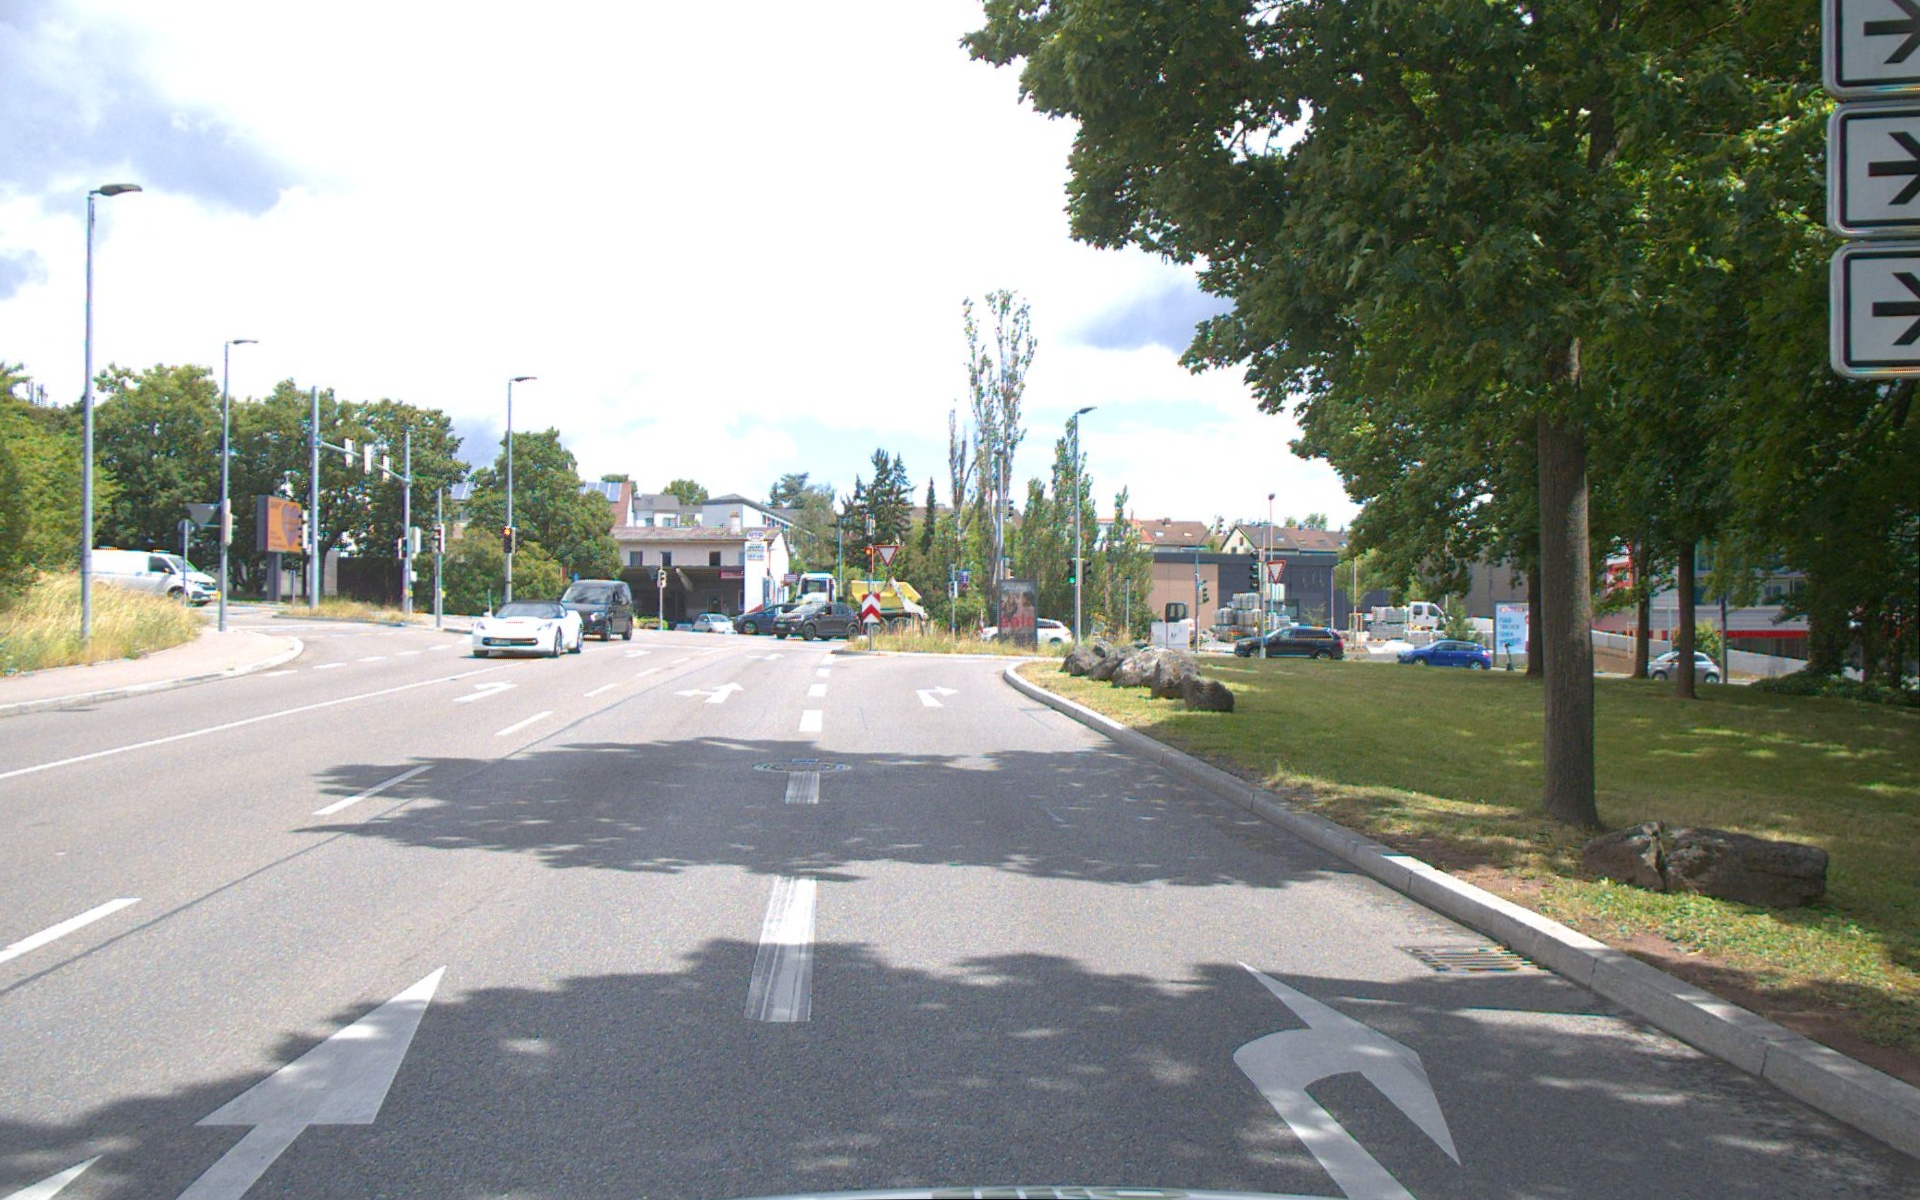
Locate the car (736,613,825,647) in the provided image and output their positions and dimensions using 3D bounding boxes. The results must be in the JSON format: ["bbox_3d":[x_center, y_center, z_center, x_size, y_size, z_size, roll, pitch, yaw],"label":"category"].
[{"bbox_3d":[-8.313,1.395,76.850,3.905,1.425,1.696,2,-2,0],"label":"car"}]

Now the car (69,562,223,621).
[{"bbox_3d":[-31.232,-0.304,63.562,4.856,1.971,1.909,3,-1,-3],"label":"car"}]

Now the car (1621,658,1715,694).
[{"bbox_3d":[31.429,3.369,73.465,3.440,1.486,1.585,-1,-1,1],"label":"car"}]

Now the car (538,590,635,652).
[{"bbox_3d":[-11.401,0.668,50.770,1.748,1.810,4.811,0,-1,1],"label":"car"}]

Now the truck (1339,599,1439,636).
[{"bbox_3d":[29.180,1.195,112.510,6.420,2.183,2.001,-3,-2,15],"label":"truck"}]

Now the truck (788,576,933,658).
[{"bbox_3d":[-4.787,0.857,80.674,6.803,3.642,2.846,-3,-2,-1],"label":"truck"}]

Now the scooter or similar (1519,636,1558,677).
[{"bbox_3d":[18.972,1.861,54.202,1.170,1.286,0.530,3,-4,-23],"label":"scooter or similar"}]

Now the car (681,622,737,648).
[{"bbox_3d":[-14.671,2.024,96.494,1.677,1.425,3.950,3,-2,-35],"label":"car"}]

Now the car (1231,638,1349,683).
[{"bbox_3d":[14.636,2.681,73.603,4.862,1.719,1.911,3,-1,3],"label":"car"}]

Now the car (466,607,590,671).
[{"bbox_3d":[-9.810,0.876,37.924,1.867,1.314,4.605,-1,-1,-4],"label":"car"}]

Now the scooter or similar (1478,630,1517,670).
[{"bbox_3d":[17.653,1.645,54.363,1.170,1.286,0.530,3,-4,-23],"label":"scooter or similar"}]

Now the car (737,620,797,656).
[{"bbox_3d":[-11.321,2.234,96.969,1.884,1.892,3.762,-1,-2,-35],"label":"car"}]

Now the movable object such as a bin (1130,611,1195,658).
[{"bbox_3d":[11.785,1.999,96.074,3.332,2.583,2.153,2,-2,18],"label":"movable object such as a bin"}]

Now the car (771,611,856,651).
[{"bbox_3d":[-5.974,1.269,67.742,1.748,1.606,4.163,0,-1,23],"label":"car"}]

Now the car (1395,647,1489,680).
[{"bbox_3d":[22.399,2.943,76.963,3.904,1.425,1.697,2,-2,1],"label":"car"}]

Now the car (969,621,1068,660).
[{"bbox_3d":[2.565,1.782,73.358,4.275,1.495,1.622,3,-1,0],"label":"car"}]
